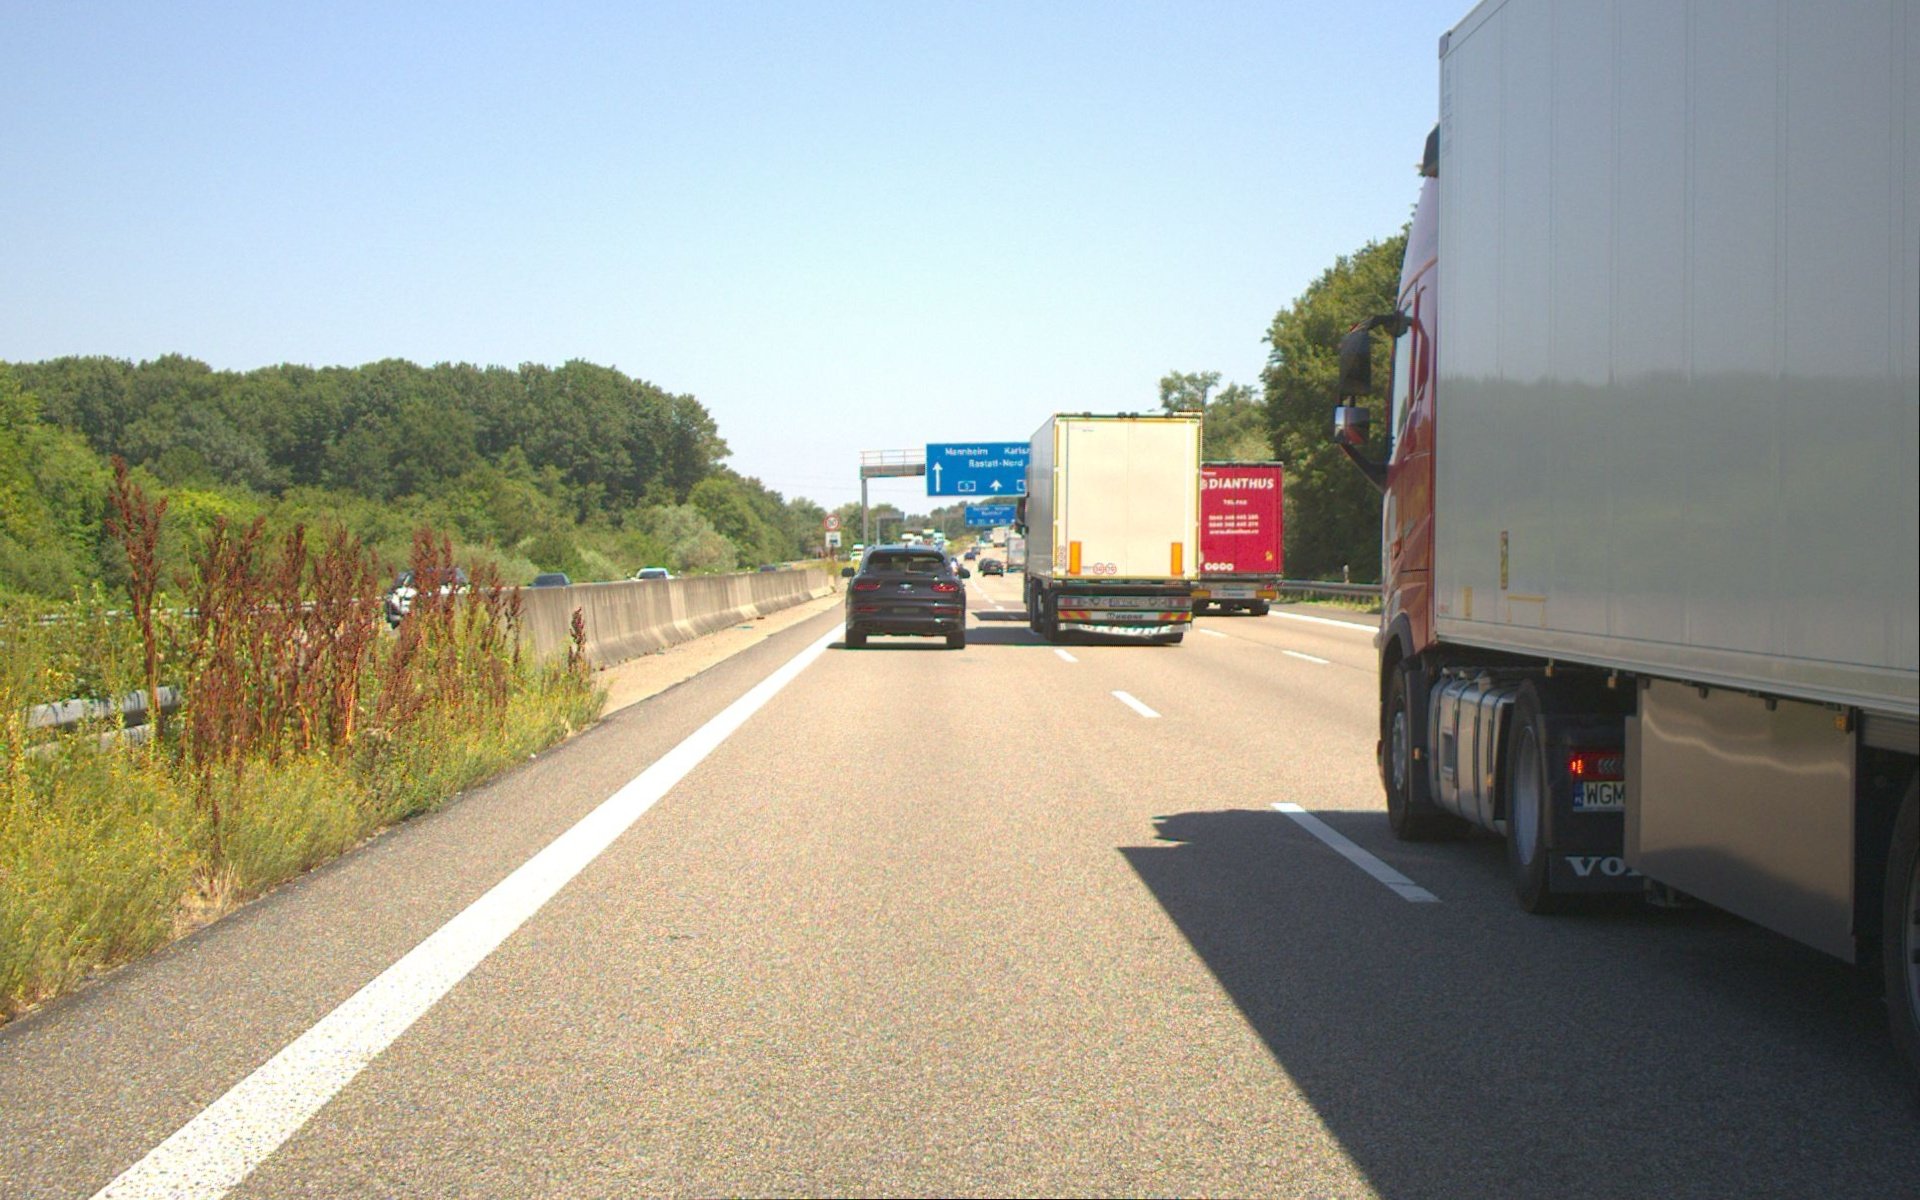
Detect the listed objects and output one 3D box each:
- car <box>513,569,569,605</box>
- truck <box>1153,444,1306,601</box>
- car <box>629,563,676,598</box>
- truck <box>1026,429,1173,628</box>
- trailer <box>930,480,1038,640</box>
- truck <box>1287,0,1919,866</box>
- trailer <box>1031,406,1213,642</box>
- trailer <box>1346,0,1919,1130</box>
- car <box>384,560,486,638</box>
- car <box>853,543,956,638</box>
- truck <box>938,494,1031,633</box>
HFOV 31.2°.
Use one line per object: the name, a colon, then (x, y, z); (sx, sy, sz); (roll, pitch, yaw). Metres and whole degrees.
car: (-18.839, -0.601, 154.909); (1.908, 1.474, 4.825); (-3, 1, 0)
truck: (7.490, -2.129, 97.527); (3.055, 4.092, 13.219); (1, 1, -1)
car: (-14.400, -0.939, 161.136); (1.773, 1.533, 4.684); (-2, 1, 0)
truck: (2.858, -1.476, 72.177); (2.800, 3.993, 6.021); (0, 1, 0)
trailer: (0.668, -1.049, 95.130); (2.708, 4.054, 14.746); (1, 0, 0)
truck: (3.633, -0.798, 18.948); (2.941, 3.972, 6.102); (1, 1, -1)
trailer: (2.898, -1.395, 65.117); (2.795, 4.021, 12.568); (0, 1, 0)
trailer: (3.775, -0.735, 11.181); (2.937, 4.004, 16.201); (1, 1, -1)
car: (-14.441, -0.064, 94.766); (1.993, 2.007, 4.939); (-3, 1, 0)
car: (-0.926, -0.184, 57.638); (1.660, 1.544, 3.783); (0, 1, -1)
truck: (0.744, -1.097, 104.500); (2.700, 4.080, 6.453); (1, 0, 0)
